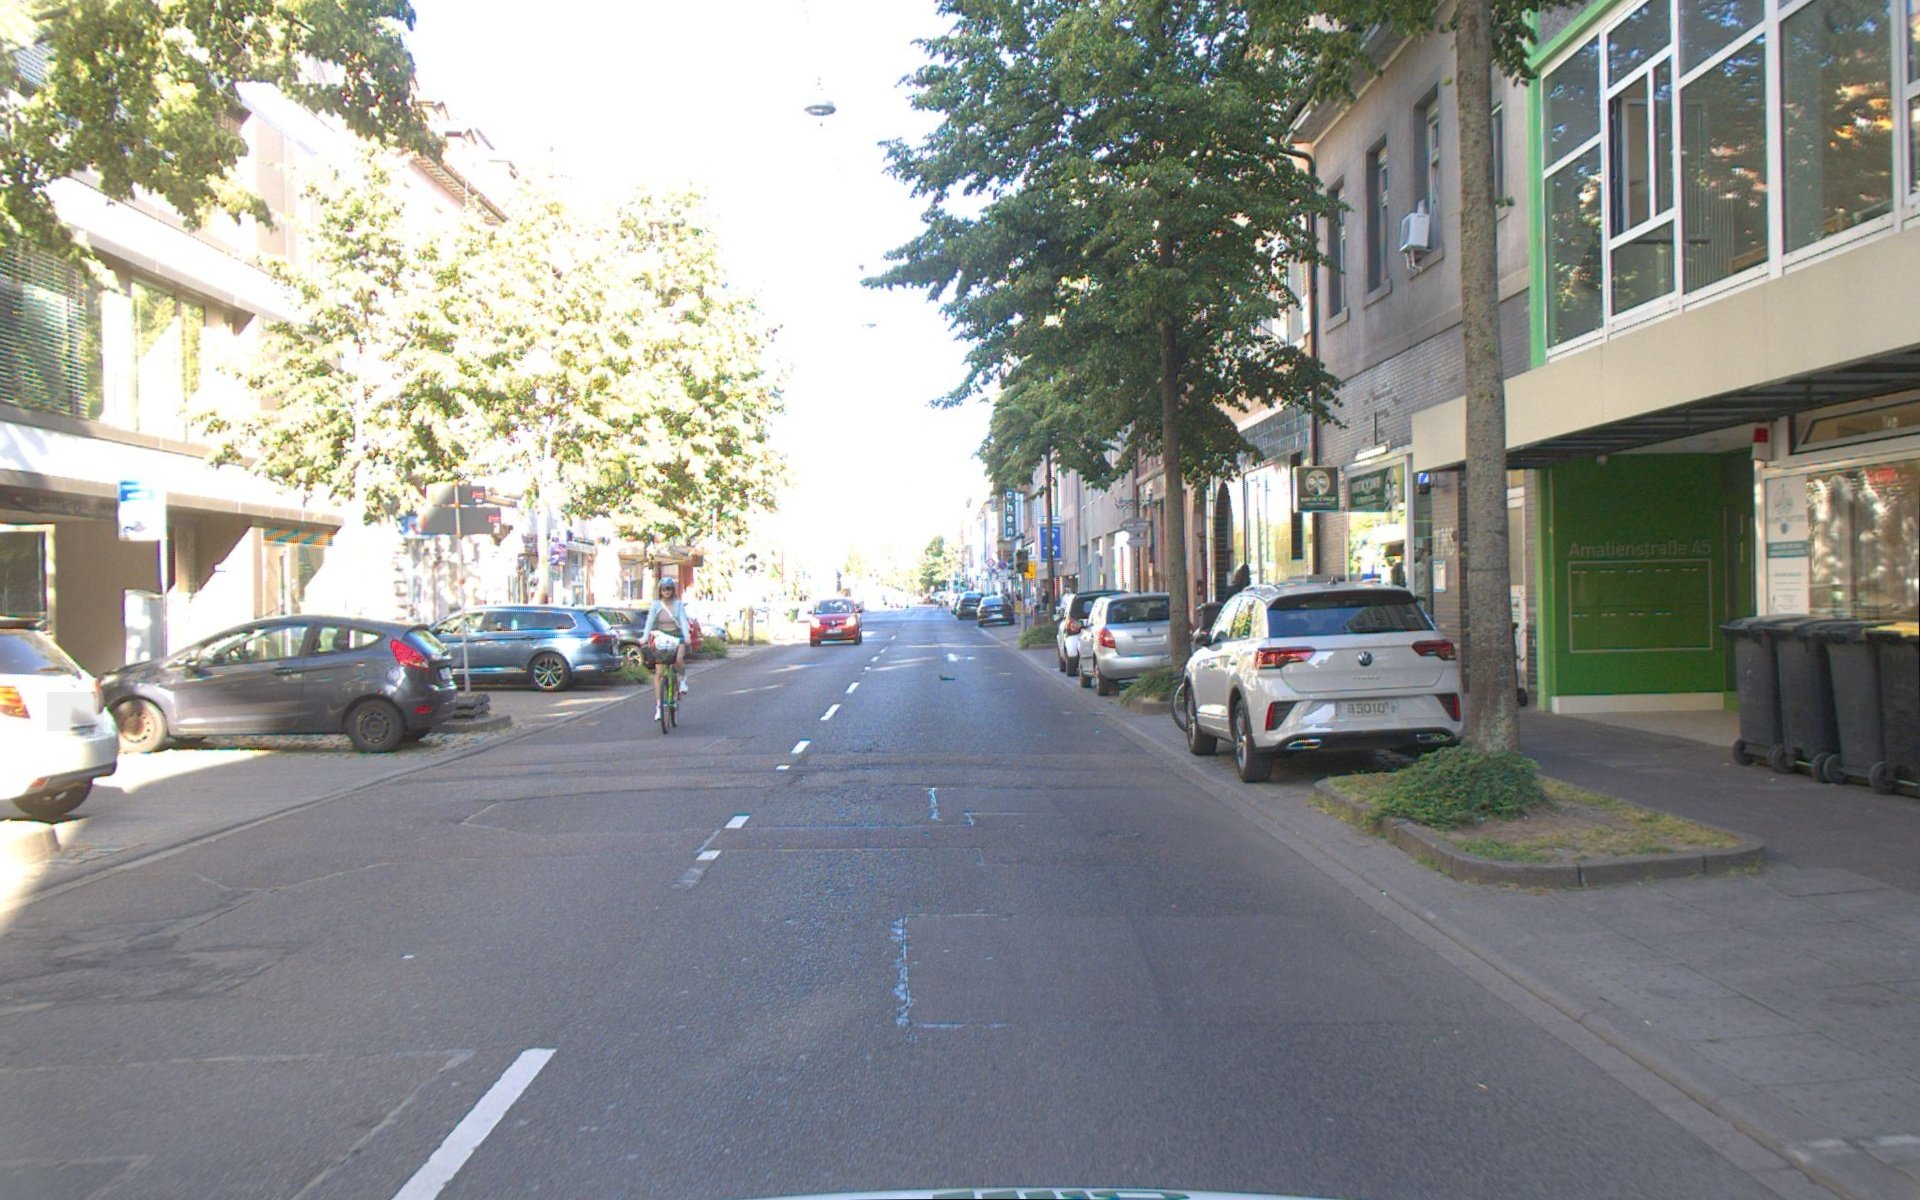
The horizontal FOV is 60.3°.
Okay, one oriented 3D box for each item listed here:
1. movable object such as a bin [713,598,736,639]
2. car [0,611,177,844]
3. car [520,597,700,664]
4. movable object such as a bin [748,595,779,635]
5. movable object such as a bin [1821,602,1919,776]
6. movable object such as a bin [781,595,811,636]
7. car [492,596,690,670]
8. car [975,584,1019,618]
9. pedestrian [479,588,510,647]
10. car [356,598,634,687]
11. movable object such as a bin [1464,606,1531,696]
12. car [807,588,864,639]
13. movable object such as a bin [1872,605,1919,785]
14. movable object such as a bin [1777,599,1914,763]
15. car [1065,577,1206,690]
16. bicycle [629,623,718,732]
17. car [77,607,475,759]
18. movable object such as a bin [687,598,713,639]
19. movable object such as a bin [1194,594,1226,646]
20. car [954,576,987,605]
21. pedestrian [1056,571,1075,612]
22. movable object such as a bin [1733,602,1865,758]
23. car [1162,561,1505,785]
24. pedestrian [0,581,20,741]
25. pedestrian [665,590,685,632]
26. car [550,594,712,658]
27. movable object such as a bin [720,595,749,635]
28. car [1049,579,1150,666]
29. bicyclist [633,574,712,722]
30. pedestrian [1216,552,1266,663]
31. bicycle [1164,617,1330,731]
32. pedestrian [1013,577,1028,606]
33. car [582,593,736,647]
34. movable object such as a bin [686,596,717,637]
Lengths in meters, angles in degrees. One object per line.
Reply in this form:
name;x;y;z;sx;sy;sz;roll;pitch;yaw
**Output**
movable object such as a bin;-7.957;0.622;55.900;0.621;1.364;0.805;-2;0;-2
car;-8.074;0.873;11.632;4.162;1.484;1.978;-1;0;-5
car;-8.078;0.688;38.373;3.762;1.454;1.789;-1;0;0
movable object such as a bin;-7.470;0.563;62.958;1.021;1.497;1.143;-2;0;-2
movable object such as a bin;6.119;0.568;10.854;0.601;1.082;0.589;-2;0;0
movable object such as a bin;-6.263;0.586;63.152;1.021;1.497;1.452;-2;0;-2
car;-7.900;0.690;35.637;3.838;1.511;1.771;-1;0;0
car;1.799;0.027;82.487;1.879;1.504;4.963;-5;1;-1
pedestrian;-11.590;0.426;41.217;0.497;1.433;0.825;0;1;3
car;-8.120;0.724;29.155;4.403;1.484;1.789;0;0;-3
movable object such as a bin;6.007;0.561;18.494;0.512;0.973;0.655;-2;0;0
car;-4.122;0.410;55.233;1.624;1.561;3.760;-3;0;-1
movable object such as a bin;6.122;0.574;10.237;0.601;1.082;0.589;-2;0;0
movable object such as a bin;6.115;0.546;11.443;0.601;1.082;0.589;-2;0;0
car;2.751;0.480;26.770;1.582;1.555;4.233;-5;1;-2
bicycle;-3.470;0.909;20.205;0.710;1.189;2.197;-1;1;-1
car;-7.434;0.863;18.317;3.710;1.484;1.777;-1;0;-9
movable object such as a bin;-8.757;0.627;55.808;0.739;1.364;0.805;-2;0;-2
movable object such as a bin;5.300;0.425;35.118;0.511;1.058;0.722;-4;0;0
car;0.640;-0.579;102.012;1.933;1.755;4.823;0;1;-1
pedestrian;4.232;-0.347;66.306;0.569;1.586;1.020;-4;0;-2
movable object such as a bin;6.106;0.566;12.065;0.601;1.082;0.655;-2;0;0
car;3.050;0.523;14.449;1.845;1.553;4.232;-4;1;-2
pedestrian;-11.291;0.701;18.814;0.684;1.828;0.746;-1;0;10
pedestrian;-11.625;0.450;67.503;0.651;1.688;1.036;-1;0;-2
car;-8.092;0.621;40.905;3.672;1.494;1.739;-1;0;-2
movable object such as a bin;-8.611;0.570;63.100;0.944;1.497;1.143;-1;0;-2
car;2.716;0.413;32.738;1.581;1.555;3.059;-3;0;-2
bicyclist;-3.475;0.560;20.104;0.710;1.730;1.282;-1;0;-1
pedestrian;4.688;0.121;27.621;0.610;1.795;0.771;-3;0;0
bicycle;3.077;0.781;17.813;1.591;1.030;0.611;-6;1;-3
pedestrian;3.591;-0.520;98.732;0.784;1.704;0.589;-3;0;1
car;-8.739;0.561;48.238;4.116;1.494;1.740;-1;0;1
movable object such as a bin;-9.837;0.629;63.000;1.021;1.497;1.143;-2;0;-2
